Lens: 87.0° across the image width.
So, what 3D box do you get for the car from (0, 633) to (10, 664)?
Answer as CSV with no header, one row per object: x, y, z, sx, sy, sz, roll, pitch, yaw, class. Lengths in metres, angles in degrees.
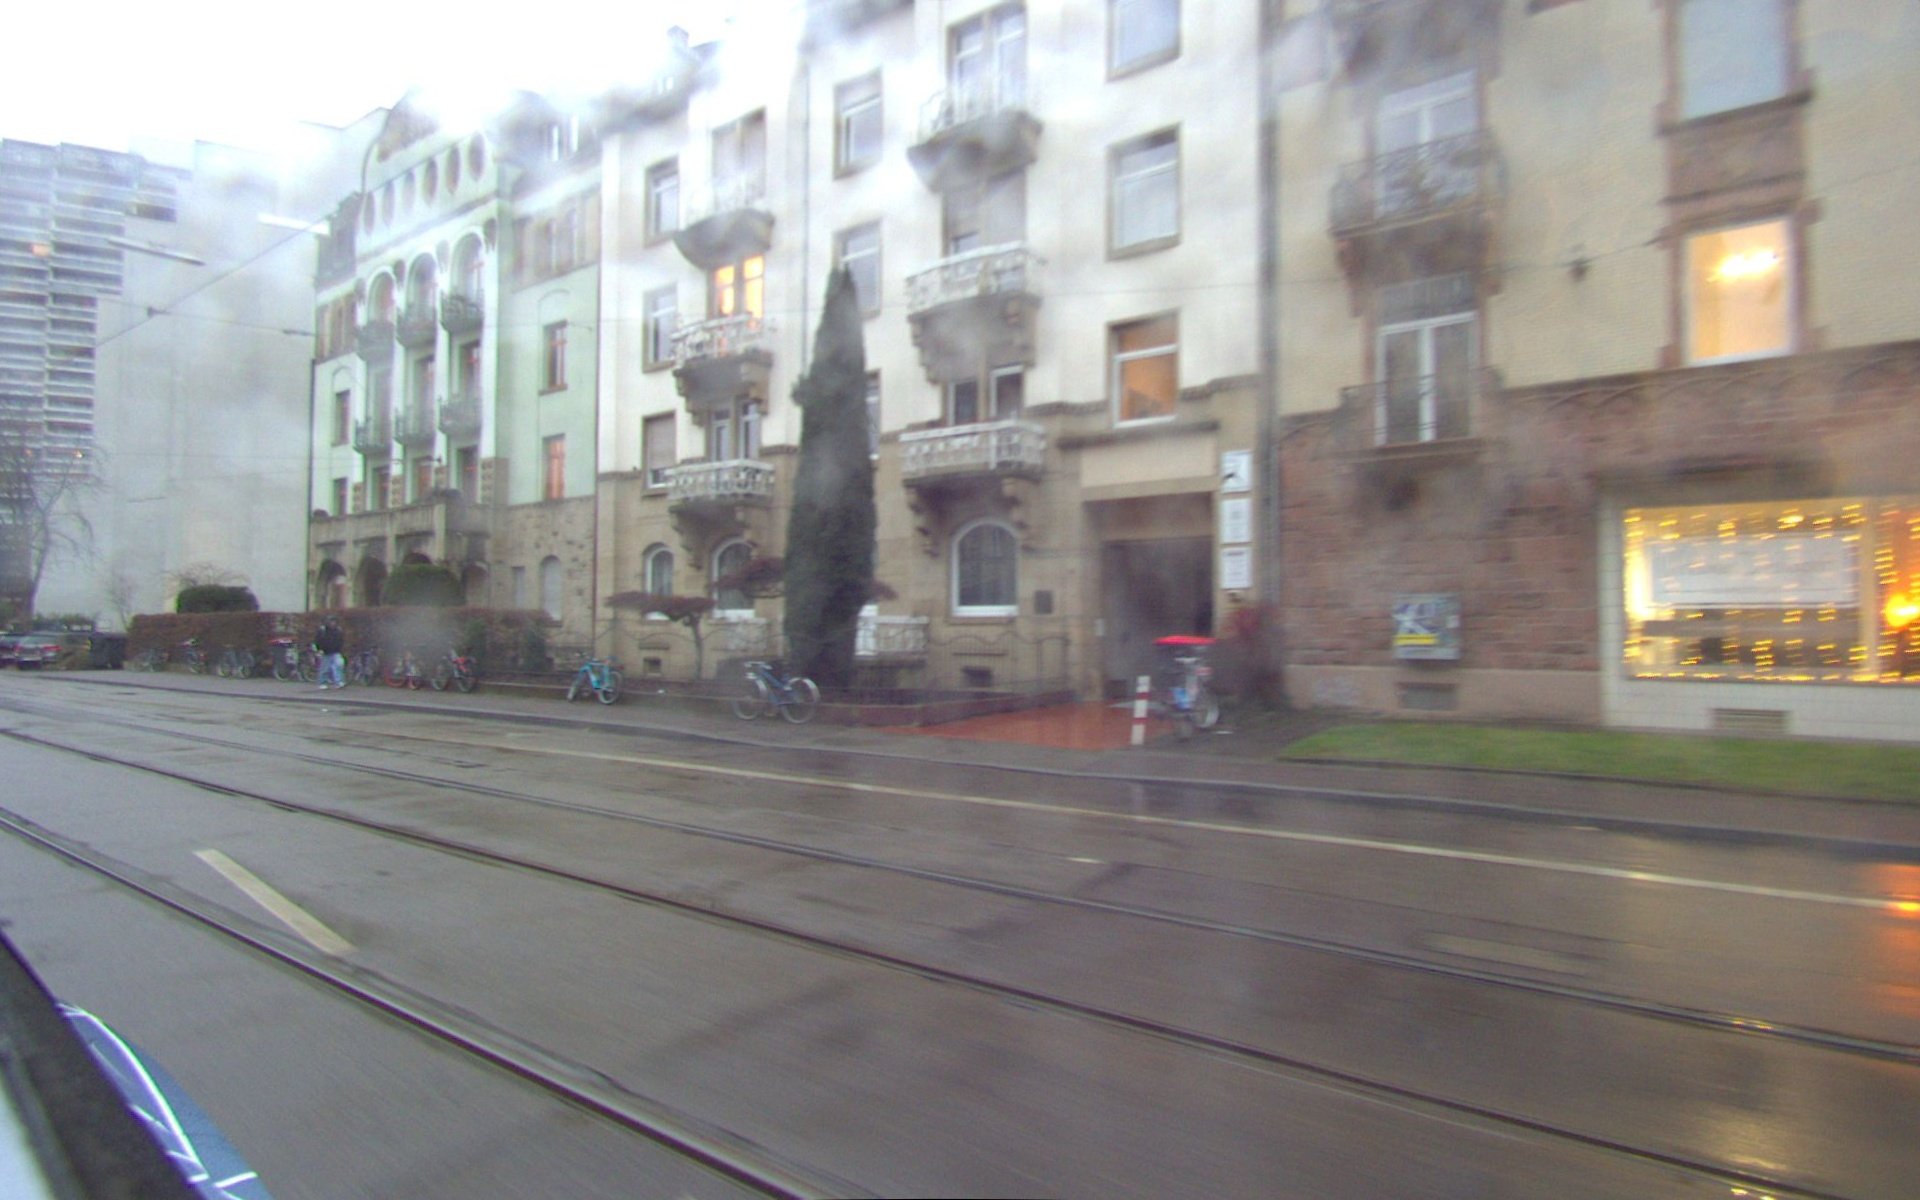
-51.059,2.496,51.442,1.842,1.608,4.000,0,-2,-1,car

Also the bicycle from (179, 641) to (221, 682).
-23.296,1.859,31.000,1.660,1.221,0.617,-2,-3,39,bicycle

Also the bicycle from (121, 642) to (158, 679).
-27.518,2.013,33.924,1.660,1.173,0.617,-2,-2,39,bicycle

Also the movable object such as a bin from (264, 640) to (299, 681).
-19.573,1.743,29.214,0.674,1.173,0.651,-2,-3,39,movable object such as a bin

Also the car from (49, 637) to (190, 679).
-32.261,2.198,39.001,1.847,1.505,3.991,0,-2,7,car

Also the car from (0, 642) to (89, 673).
-39.781,2.444,43.414,1.687,1.262,3.667,1,-3,-2,car

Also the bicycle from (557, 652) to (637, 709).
-6.804,1.487,18.945,1.660,1.011,0.617,-2,-3,39,bicycle

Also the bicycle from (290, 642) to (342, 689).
-16.540,1.667,25.986,1.660,1.173,0.617,-2,-3,39,bicycle

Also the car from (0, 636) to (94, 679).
-37.676,2.285,40.988,1.842,1.608,4.000,0,-2,-1,car

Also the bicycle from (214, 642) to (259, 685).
-21.119,1.829,29.523,1.660,1.221,0.617,-2,-3,39,bicycle

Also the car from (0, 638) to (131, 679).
-34.796,2.236,39.450,1.739,1.497,4.000,0,-2,-1,car

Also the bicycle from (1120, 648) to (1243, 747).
3.041,1.263,13.683,0.694,1.114,2.327,-2,0,37,bicycle

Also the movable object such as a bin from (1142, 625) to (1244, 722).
3.632,1.104,15.770,1.166,1.390,1.092,-2,0,38,movable object such as a bin

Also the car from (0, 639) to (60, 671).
-45.179,2.577,47.815,1.842,1.460,4.000,0,-2,-1,car

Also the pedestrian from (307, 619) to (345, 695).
-14.876,1.331,23.746,0.644,1.738,0.567,0,-1,40,pedestrian

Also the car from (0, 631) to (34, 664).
-48.720,2.367,50.270,1.842,1.608,4.000,0,-2,-1,car

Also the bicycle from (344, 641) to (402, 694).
-14.205,1.615,24.478,1.660,1.221,0.617,-2,-3,39,bicycle

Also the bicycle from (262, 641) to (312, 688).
-18.033,1.711,27.126,1.660,1.221,0.617,-2,-3,39,bicycle

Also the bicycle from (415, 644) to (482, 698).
-11.242,1.543,22.216,1.781,1.134,0.617,-2,-3,39,bicycle

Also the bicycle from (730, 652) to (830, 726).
-2.867,1.385,16.056,1.660,1.101,0.617,-2,-3,39,bicycle

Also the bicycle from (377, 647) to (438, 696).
-12.765,1.624,23.373,1.724,1.074,0.617,-2,-3,39,bicycle
